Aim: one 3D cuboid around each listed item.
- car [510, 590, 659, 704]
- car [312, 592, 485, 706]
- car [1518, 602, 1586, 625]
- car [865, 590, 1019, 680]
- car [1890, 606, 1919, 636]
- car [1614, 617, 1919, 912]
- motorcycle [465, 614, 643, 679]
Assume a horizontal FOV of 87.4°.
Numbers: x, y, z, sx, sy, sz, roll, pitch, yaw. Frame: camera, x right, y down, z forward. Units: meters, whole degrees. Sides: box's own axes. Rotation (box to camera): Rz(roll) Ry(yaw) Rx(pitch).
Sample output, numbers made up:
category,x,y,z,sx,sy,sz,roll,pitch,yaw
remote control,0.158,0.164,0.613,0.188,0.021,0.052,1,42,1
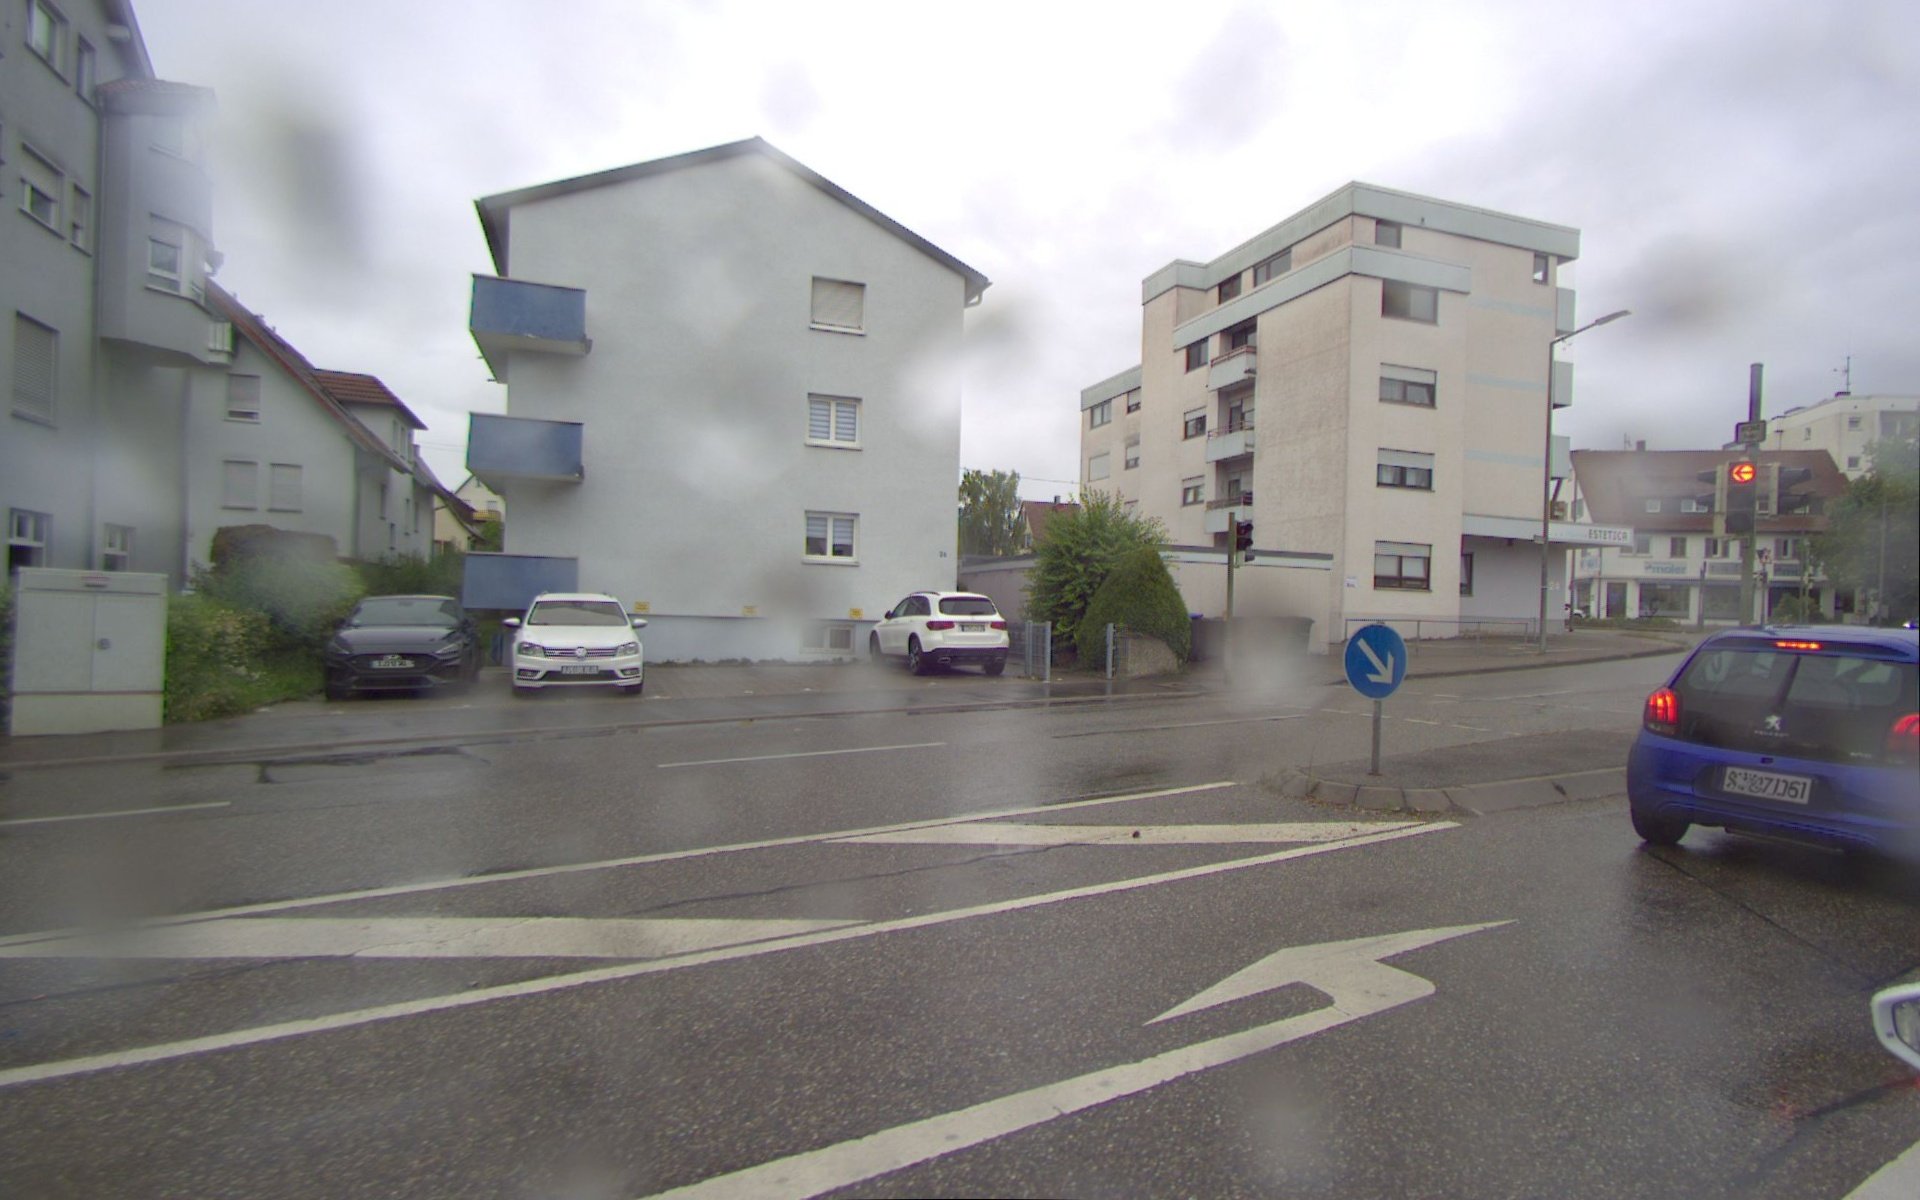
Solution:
category,x,y,z,sx,sy,sz,roll,pitch,yaw
car,-5.917,0.634,15.534,1.878,1.493,4.208,0,0,-24
car,-8.097,0.625,14.829,1.878,1.430,3.976,0,0,-24
car,42.812,0.974,72.718,3.887,1.593,1.873,1,1,16
car,-0.522,0.665,21.129,1.910,1.658,4.445,0,0,-20
car,47.338,1.017,49.083,3.786,1.439,1.769,1,0,-31
car,5.881,0.854,6.425,3.232,1.429,1.571,1,1,-31
motorcycle,-7.715,0.841,19.294,0.864,1.115,3.114,1,1,42
